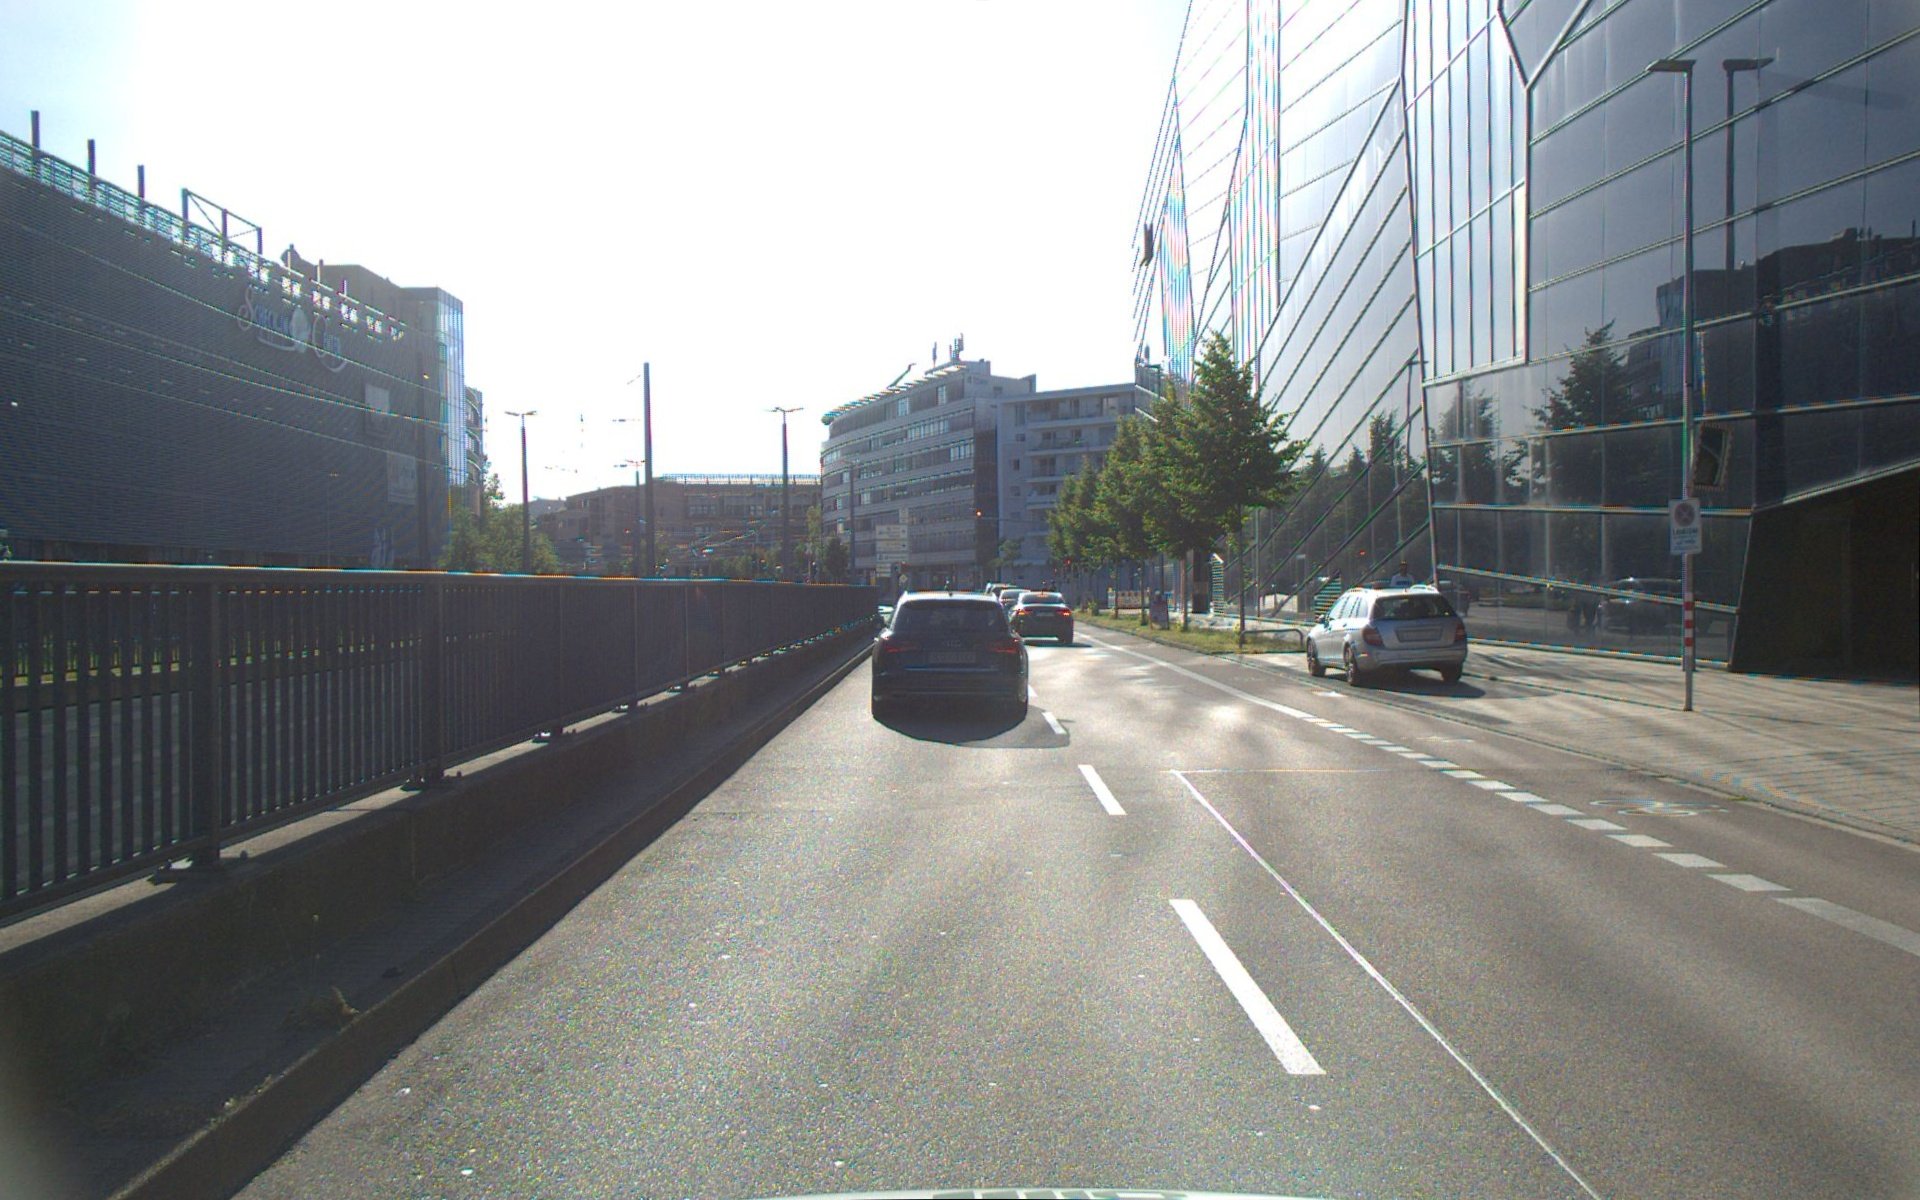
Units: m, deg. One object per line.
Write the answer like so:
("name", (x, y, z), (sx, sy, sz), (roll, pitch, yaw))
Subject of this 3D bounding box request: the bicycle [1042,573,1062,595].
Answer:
("bicycle", (5.181, -0.919, 93.502), (0.710, 1.204, 2.090), (-2, 1, -7))

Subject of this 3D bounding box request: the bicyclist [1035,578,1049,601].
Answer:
("bicyclist", (4.767, -0.594, 96.024), (0.709, 1.291, 1.036), (-2, 1, 1))

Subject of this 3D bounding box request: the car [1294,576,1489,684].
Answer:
("car", (6.931, 0.409, 27.132), (1.815, 1.506, 4.853), (-3, 1, -1))

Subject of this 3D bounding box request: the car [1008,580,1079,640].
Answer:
("car", (2.319, 0.248, 46.720), (1.814, 1.573, 4.000), (0, 1, 0))

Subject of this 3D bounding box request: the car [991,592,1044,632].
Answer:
("car", (2.289, 0.474, 67.103), (1.953, 1.491, 4.000), (0, 2, -1))

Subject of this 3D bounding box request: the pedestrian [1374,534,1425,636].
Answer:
("pedestrian", (9.042, -0.303, 34.045), (0.819, 2.048, 0.689), (-2, 1, 0))

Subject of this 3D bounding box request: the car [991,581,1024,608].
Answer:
("car", (2.825, -0.357, 99.734), (1.952, 1.491, 4.001), (0, 2, 1))

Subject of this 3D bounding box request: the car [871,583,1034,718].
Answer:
("car", (-0.117, 0.539, 20.601), (1.775, 1.452, 4.689), (-1, 0, -1))

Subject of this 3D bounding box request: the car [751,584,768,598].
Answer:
("car", (-26.275, -1.185, 216.782), (1.954, 1.780, 3.998), (-3, 1, -3))

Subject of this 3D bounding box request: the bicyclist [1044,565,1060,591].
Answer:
("bicyclist", (5.181, -1.264, 93.521), (0.710, 1.443, 0.890), (-2, 0, -7))
